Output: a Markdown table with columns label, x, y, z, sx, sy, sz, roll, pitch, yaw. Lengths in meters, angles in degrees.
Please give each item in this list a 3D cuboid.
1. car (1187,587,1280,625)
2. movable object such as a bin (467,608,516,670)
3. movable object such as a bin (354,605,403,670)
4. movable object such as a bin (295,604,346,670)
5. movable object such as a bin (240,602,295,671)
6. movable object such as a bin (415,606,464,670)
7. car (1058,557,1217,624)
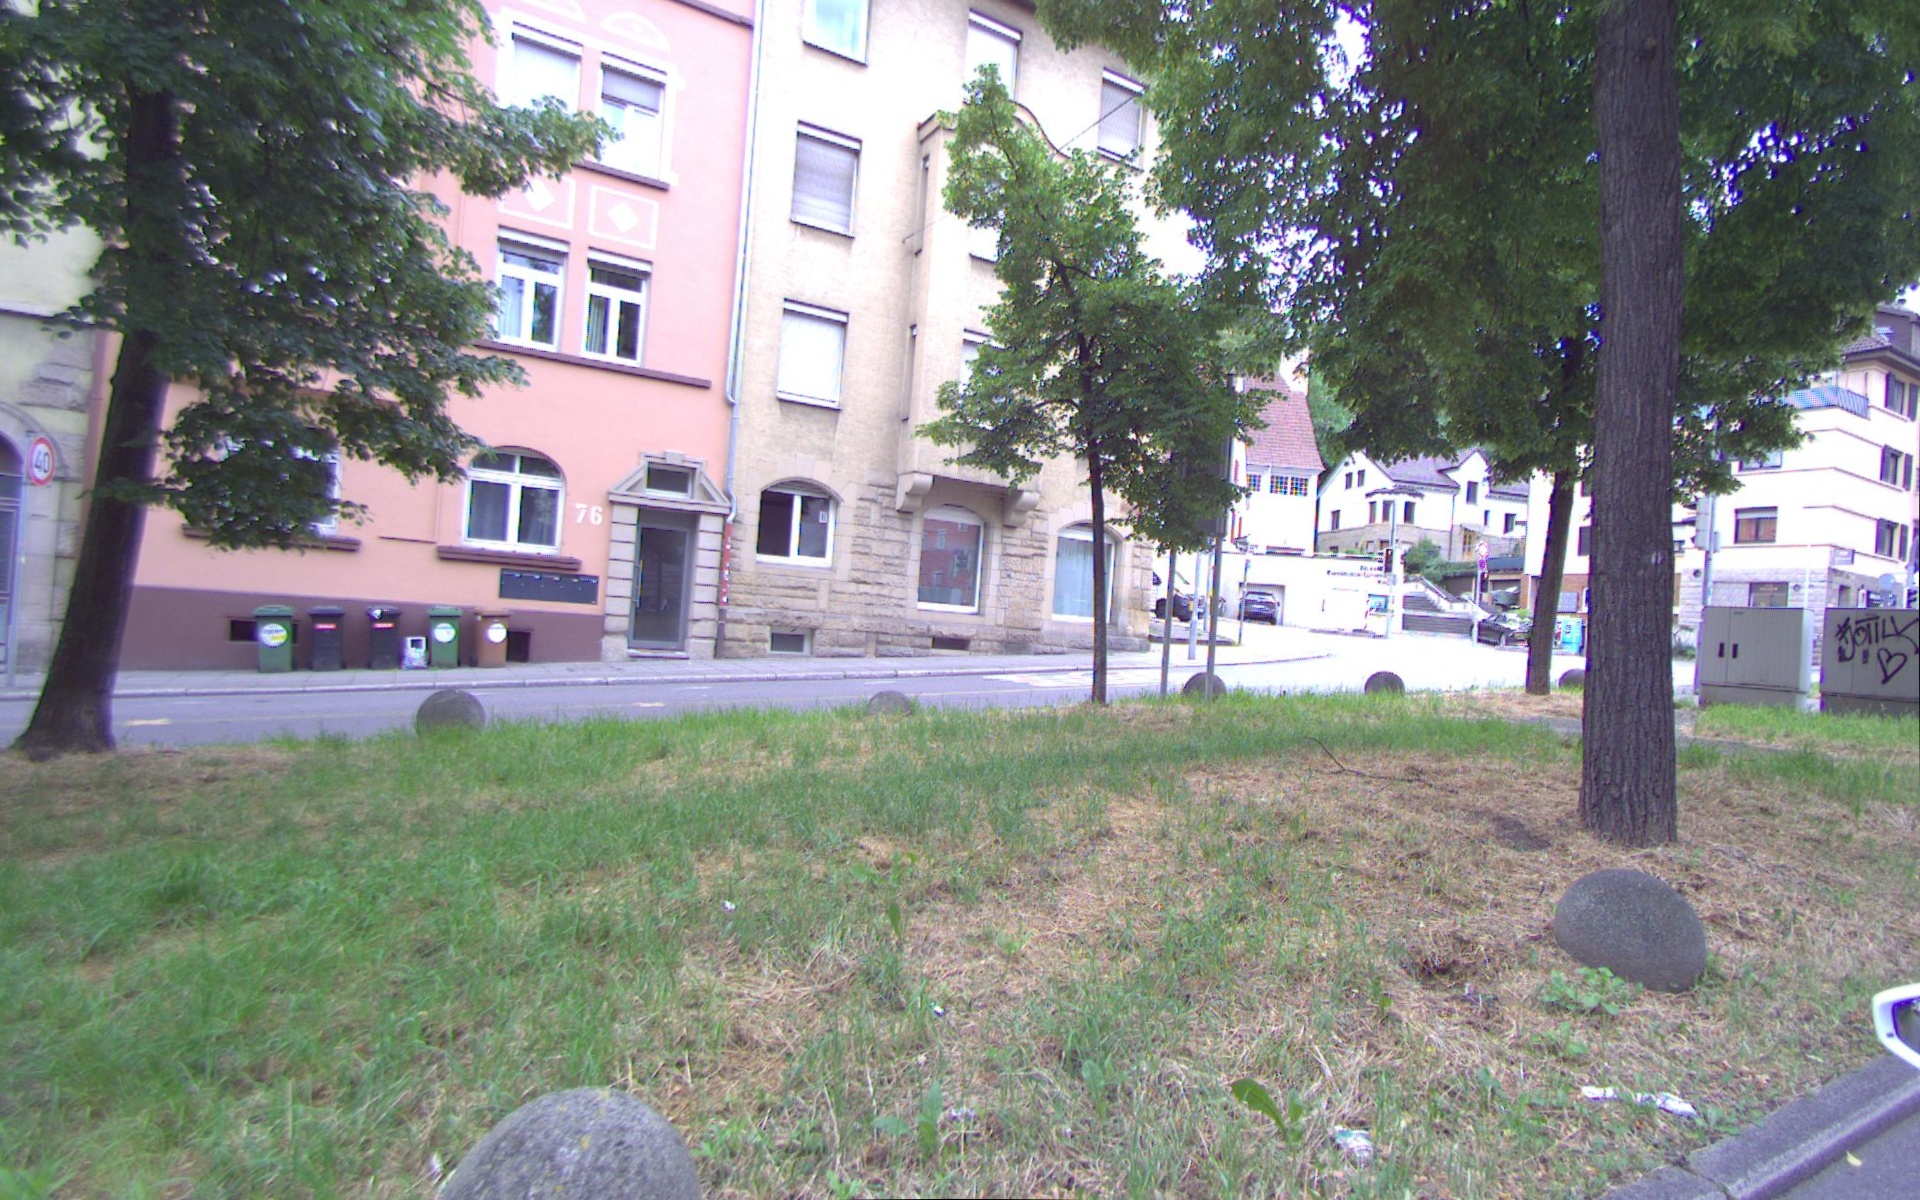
| label | x | y | z | sx | sy | sz | roll | pitch | yaw |
| --- | --- | --- | --- | --- | --- | --- | --- | --- | --- |
| car | 12.436 | 0.272 | 45.658 | 3.920 | 1.530 | 1.800 | 2 | 1 | 18 |
| movable object such as a bin | -7.302 | 0.595 | 15.655 | 0.595 | 0.916 | 0.605 | 1 | 2 | -33 |
| movable object such as a bin | -8.649 | 0.544 | 14.937 | 0.595 | 0.916 | 0.605 | 1 | 2 | -33 |
| movable object such as a bin | -9.262 | 0.528 | 14.553 | 0.595 | 0.916 | 0.605 | 1 | 2 | -33 |
| movable object such as a bin | -9.798 | 0.511 | 14.227 | 0.595 | 0.916 | 0.605 | 1 | 2 | -33 |
| movable object such as a bin | -7.928 | 0.573 | 15.288 | 0.595 | 0.916 | 0.605 | 1 | 2 | -33 |
| car | 6.186 | -0.364 | 35.370 | 5.103 | 2.092 | 1.987 | 4 | 2 | 38 |
